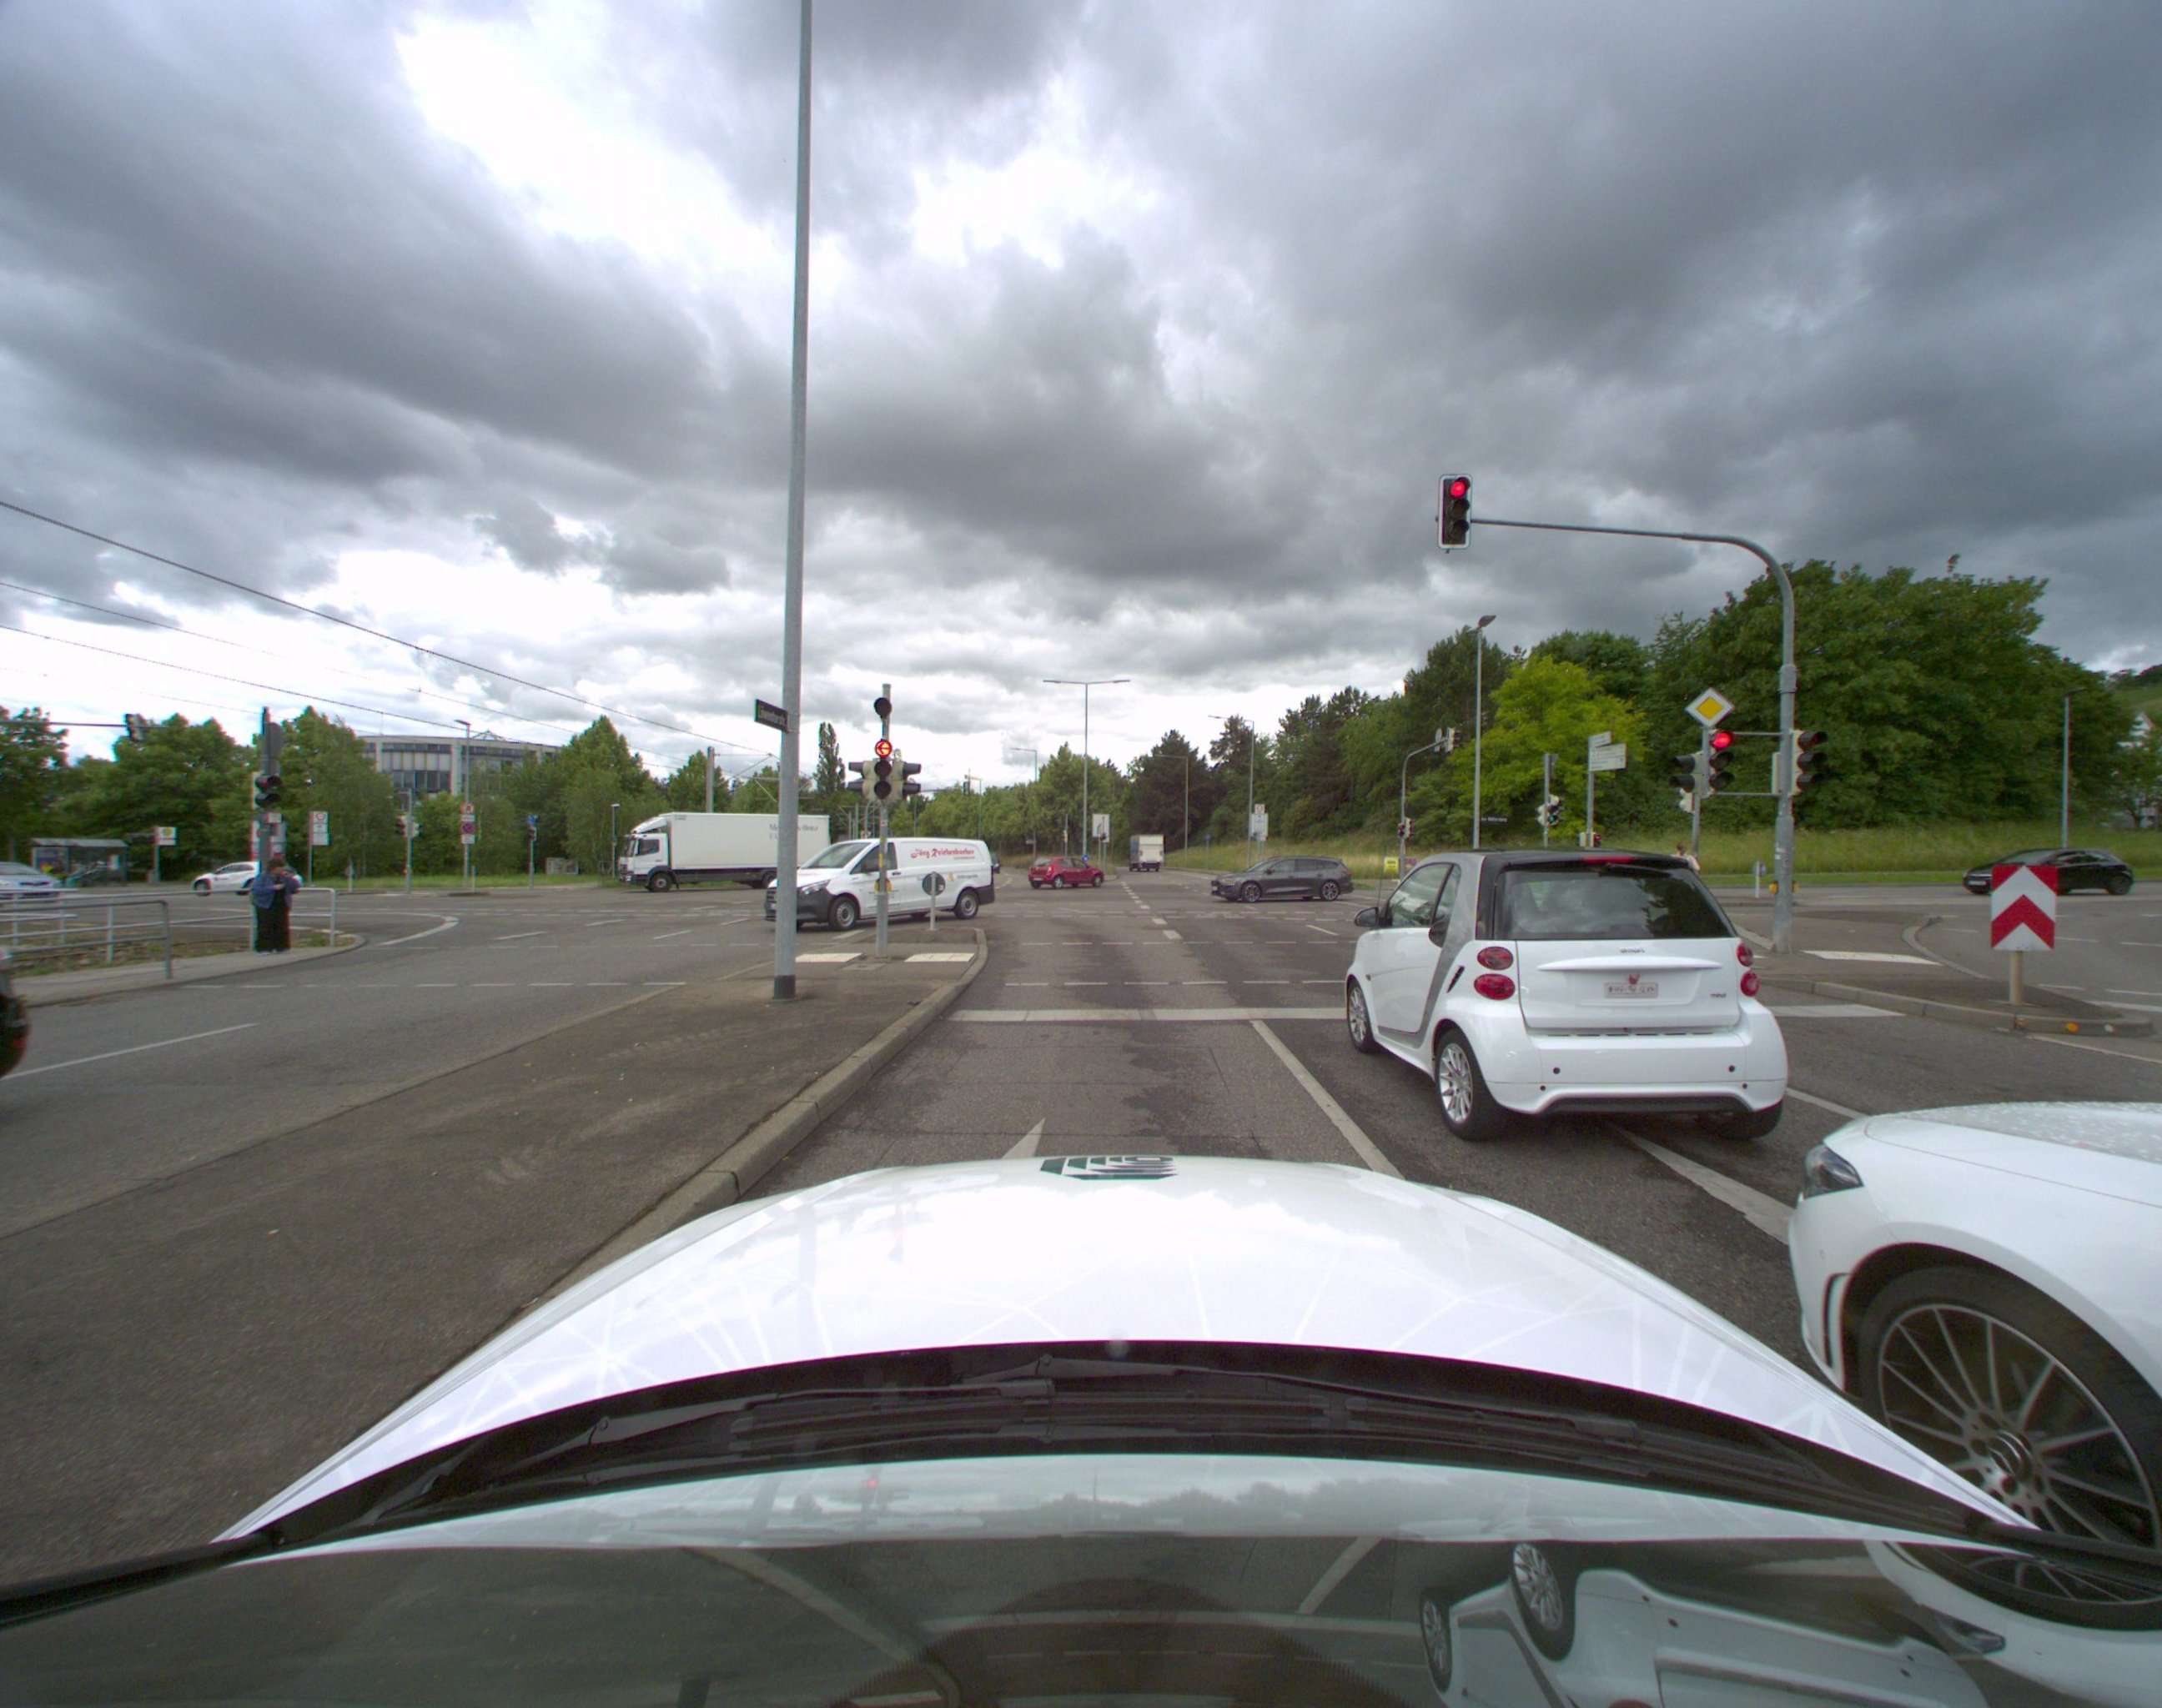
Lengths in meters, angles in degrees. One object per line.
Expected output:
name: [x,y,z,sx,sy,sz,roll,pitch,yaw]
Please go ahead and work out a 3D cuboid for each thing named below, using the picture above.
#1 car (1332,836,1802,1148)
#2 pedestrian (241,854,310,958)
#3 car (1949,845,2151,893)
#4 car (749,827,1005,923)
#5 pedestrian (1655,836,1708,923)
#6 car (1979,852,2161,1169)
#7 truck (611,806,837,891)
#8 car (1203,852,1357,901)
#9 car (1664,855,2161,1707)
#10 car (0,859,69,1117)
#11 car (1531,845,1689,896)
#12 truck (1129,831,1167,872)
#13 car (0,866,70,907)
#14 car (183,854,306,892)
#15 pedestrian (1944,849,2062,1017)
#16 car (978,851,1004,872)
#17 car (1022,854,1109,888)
car: [2.774,0.675,5.303,1.529,1.504,2.671,-1,0,2]
pedestrian: [-12.725,0.800,12.866,0.349,1.556,0.657,1,3,36]
car: [30.257,0.454,25.544,3.964,1.449,1.691,0,0,8]
car: [-4.290,0.462,18.074,1.974,1.815,5.470,-2,-2,37]
pedestrian: [11.559,0.487,15.692,0.606,1.634,0.617,-1,0,16]
car: [5.570,0.699,2.381,1.540,1.404,4.001,-1,0,1]
truck: [-16.742,-0.222,38.844,9.550,3.649,2.638,0,0,-40]
car: [6.436,0.706,26.562,4.486,1.461,1.996,-1,0,-7]
car: [2.591,0.734,0.283,1.715,1.421,4.357,-1,0,1]
car: [-7.179,0.790,3.152,1.626,1.480,3.783,-1,0,5]
car: [17.251,0.520,26.709,3.968,1.601,1.840,-1,0,4]
truck: [6.207,-0.262,76.684,2.676,3.598,7.257,-1,0,-2]
car: [-38.533,1.124,28.906,3.963,1.377,1.522,0,0,9]
car: [-37.699,0.843,36.769,3.718,1.507,1.784,-1,3,3]
pedestrian: [8.220,0.680,7.276,0.607,1.453,0.355,0,0,10]
car: [-7.238,0.553,65.024,1.915,1.576,3.988,-1,0,-9]
car: [-0.707,0.793,38.982,4.023,1.516,1.711,-1,-2,-44]
